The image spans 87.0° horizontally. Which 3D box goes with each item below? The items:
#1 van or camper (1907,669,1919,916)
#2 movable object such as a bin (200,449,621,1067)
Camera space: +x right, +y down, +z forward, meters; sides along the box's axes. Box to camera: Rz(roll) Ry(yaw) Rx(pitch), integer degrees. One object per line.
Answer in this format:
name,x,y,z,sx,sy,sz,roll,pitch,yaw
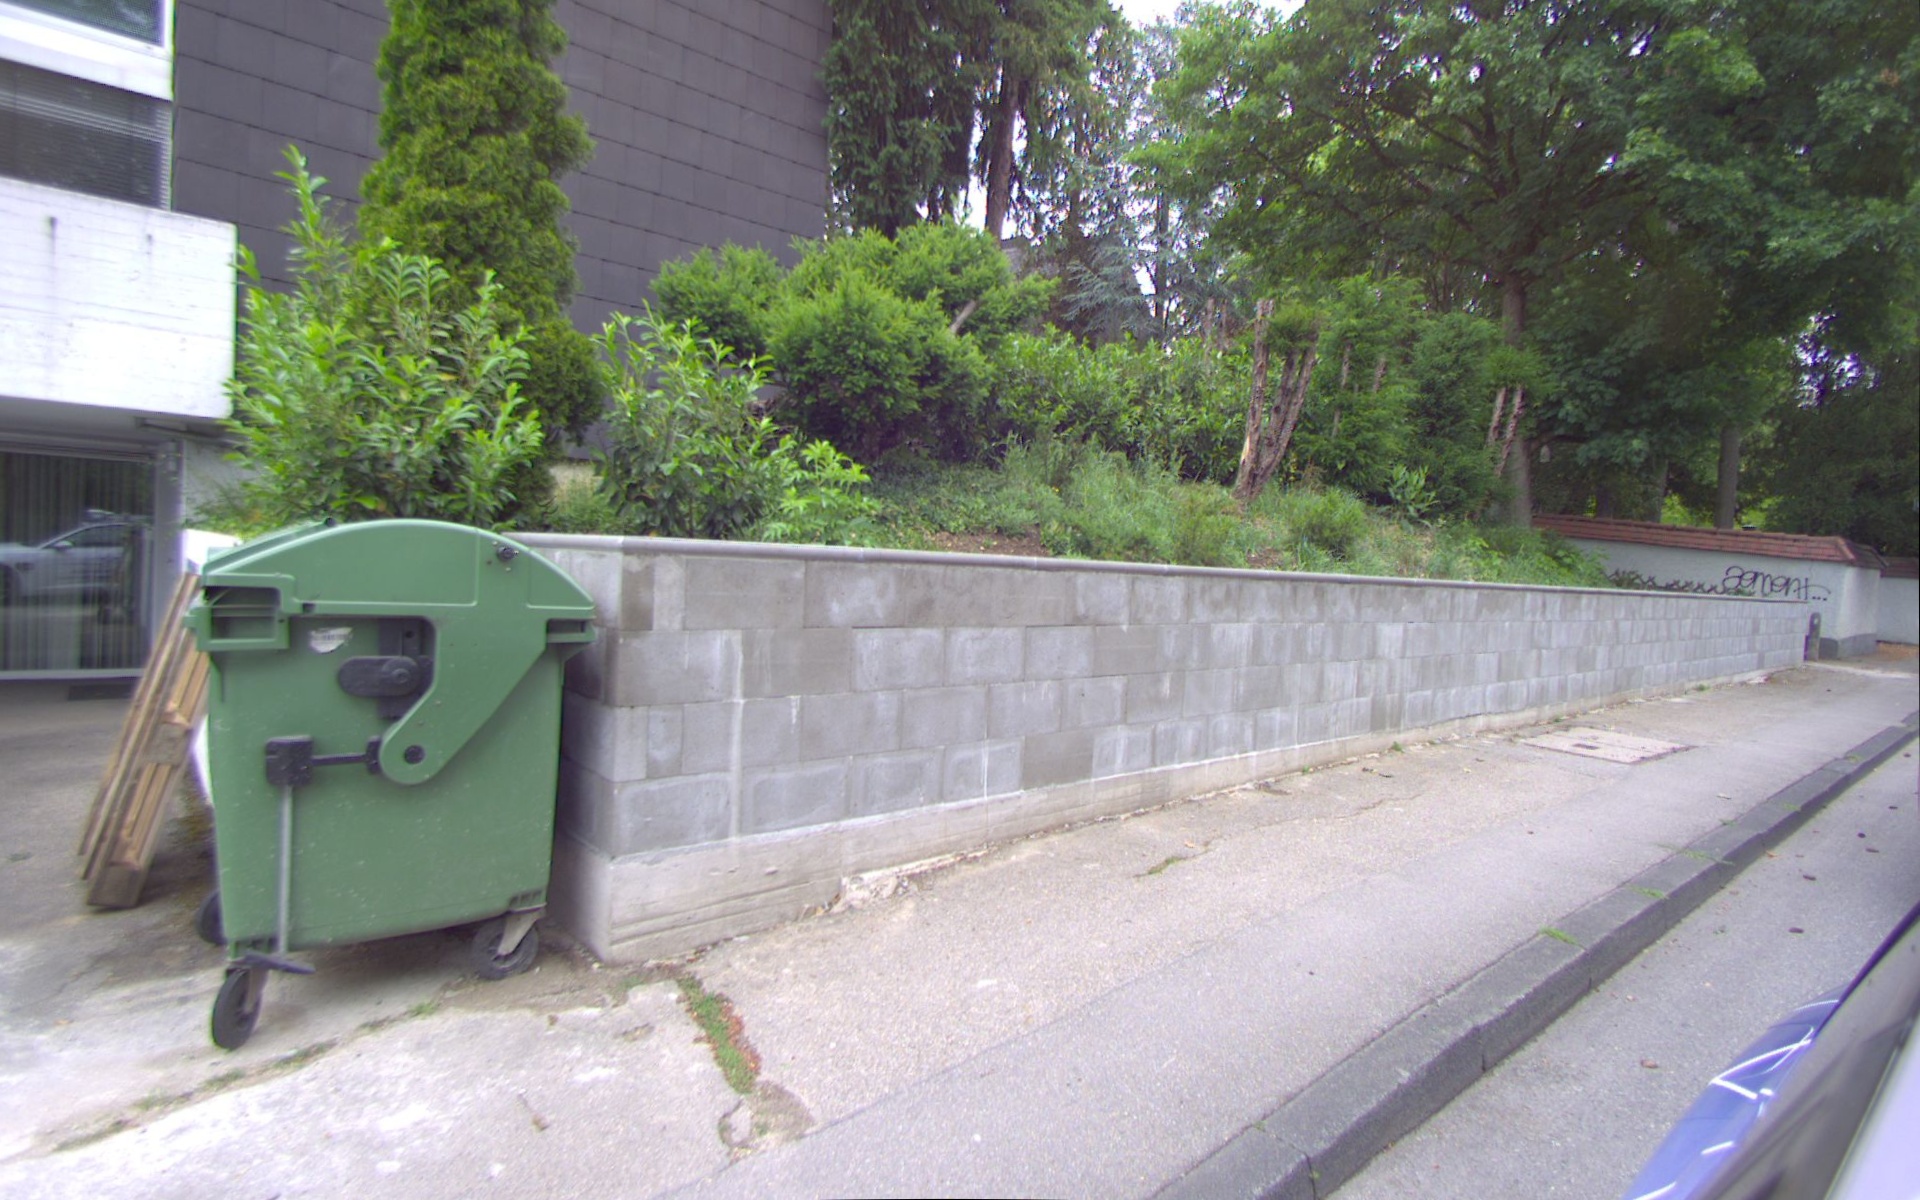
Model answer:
van or camper,6.206,0.530,4.969,4.125,1.693,1.800,0,3,-41
movable object such as a bin,-1.787,0.373,3.250,1.014,1.549,1.037,0,2,-39
